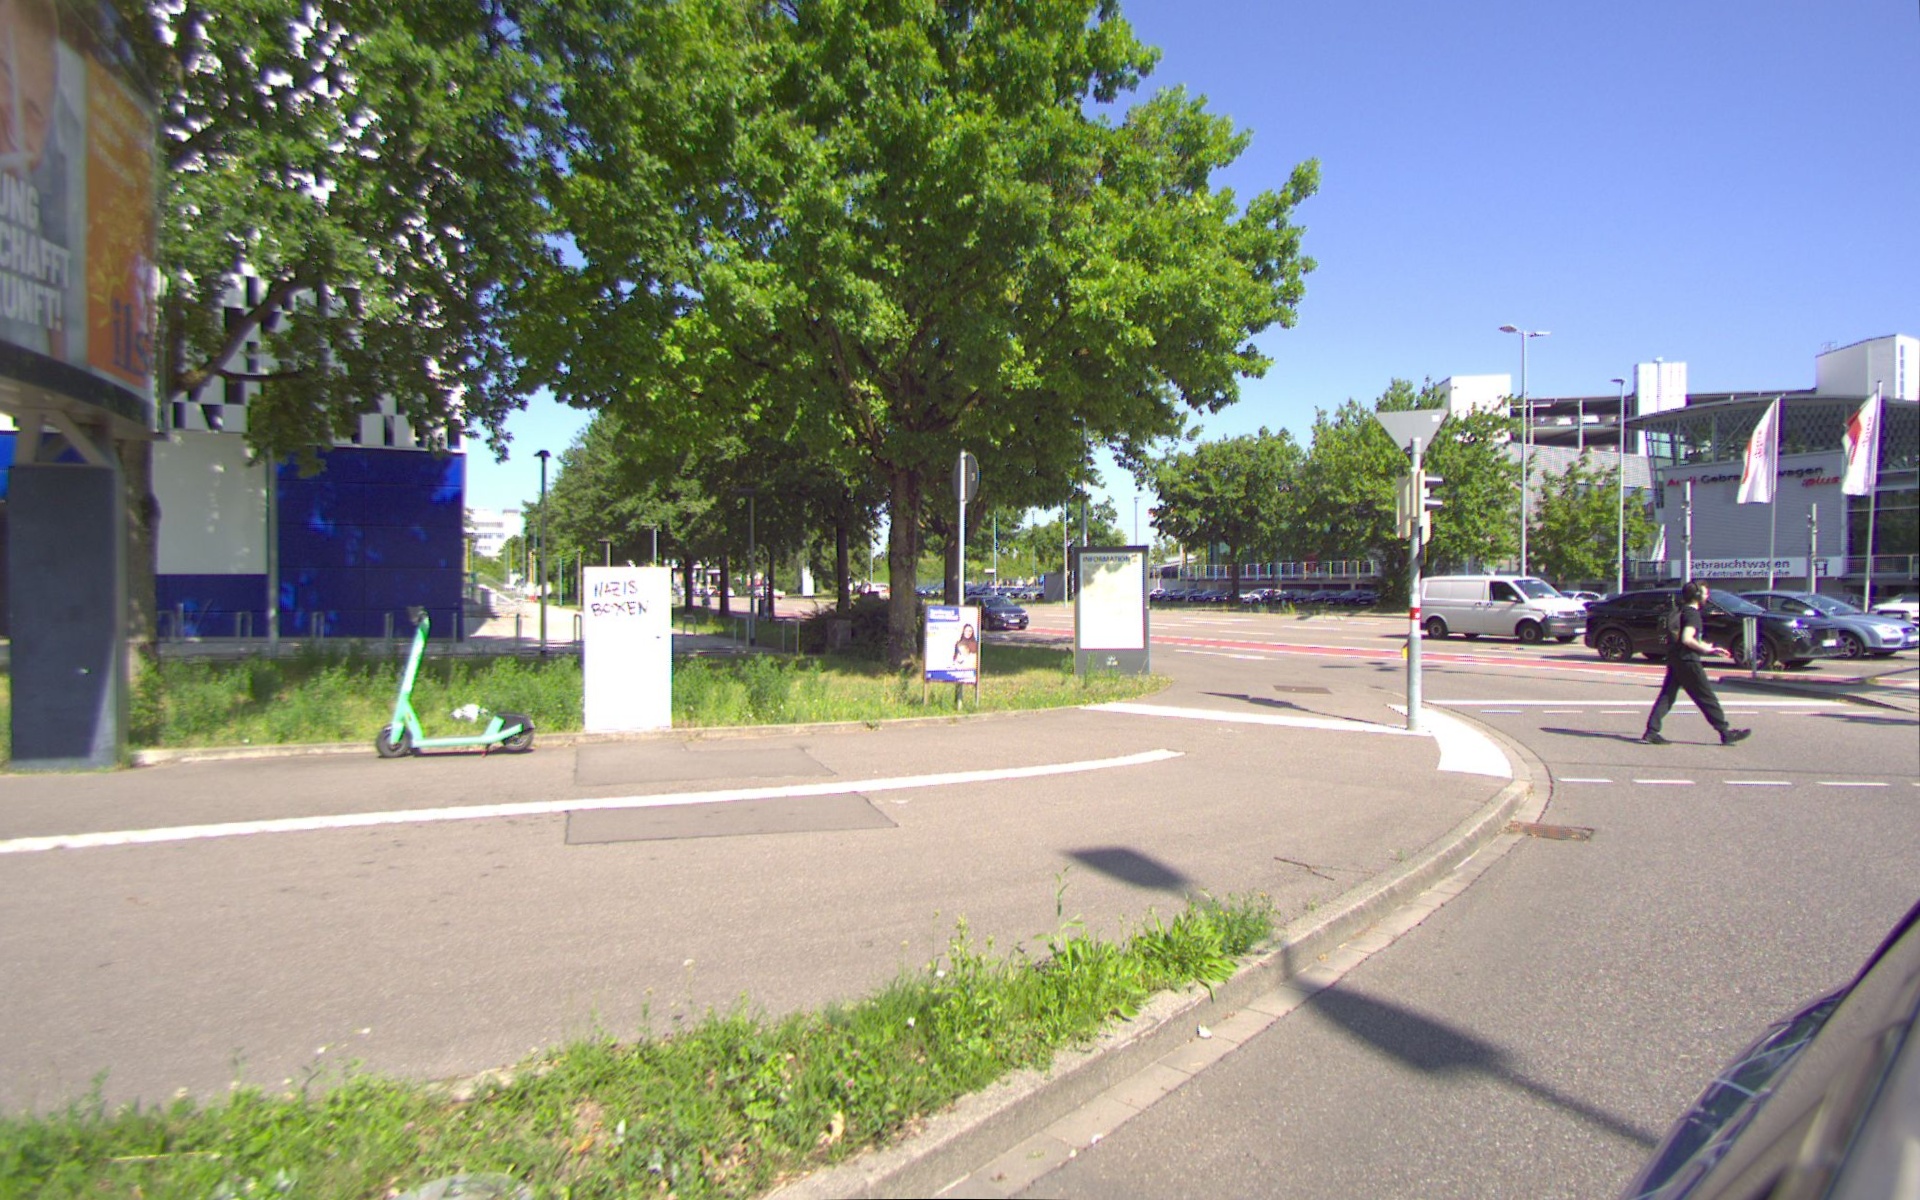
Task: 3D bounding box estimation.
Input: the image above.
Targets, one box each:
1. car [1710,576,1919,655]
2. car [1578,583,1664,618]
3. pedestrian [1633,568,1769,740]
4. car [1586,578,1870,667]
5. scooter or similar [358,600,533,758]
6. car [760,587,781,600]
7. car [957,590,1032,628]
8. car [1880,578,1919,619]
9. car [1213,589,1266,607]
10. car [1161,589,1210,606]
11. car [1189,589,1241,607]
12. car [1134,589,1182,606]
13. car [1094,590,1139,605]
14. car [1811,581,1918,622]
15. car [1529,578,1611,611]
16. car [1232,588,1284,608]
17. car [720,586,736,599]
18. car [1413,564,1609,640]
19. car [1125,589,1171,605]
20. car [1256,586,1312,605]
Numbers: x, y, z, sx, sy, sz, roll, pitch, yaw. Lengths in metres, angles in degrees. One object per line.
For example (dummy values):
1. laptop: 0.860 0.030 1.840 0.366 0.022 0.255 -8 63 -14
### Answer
1. car: 19.644 0.289 23.013 1.723 1.633 3.839 -1 1 -19
2. car: 31.426 0.014 48.125 3.809 1.593 1.789 0 0 -28
3. pedestrian: 8.051 0.565 11.029 0.941 1.802 0.706 0 0 0
4. car: 16.090 0.438 21.507 1.680 1.648 4.510 -1 0 -26
5. scooter or similar: -4.056 0.608 8.025 1.160 1.181 0.403 -1 0 -8
6. car: -26.368 -0.930 140.675 2.124 1.696 4.523 -1 1 -21
7. car: 1.450 0.342 44.470 1.735 1.482 4.248 -1 2 -22
8. car: 36.387 -0.057 37.821 3.809 1.489 1.789 0 0 -28
9. car: 19.867 -0.162 71.995 3.345 1.265 1.599 0 0 -21
10. car: 17.255 -0.197 77.579 3.345 1.265 1.599 0 0 -21
11. car: 18.648 -0.128 74.042 3.345 1.265 1.599 0 0 -20
12. car: 15.587 -0.208 79.602 3.345 1.265 1.599 0 0 -21
13. car: 12.991 -0.230 84.191 3.345 1.265 1.599 0 0 -21
14. car: 35.465 0.043 39.669 3.809 1.566 1.891 0 0 -28
15. car: 30.162 -0.285 50.038 3.809 1.593 1.789 0 0 -28
16. car: 20.665 -0.141 70.206 3.104 1.341 1.645 0 0 -21
17. car: -37.970 -1.209 165.442 1.958 2.039 4.008 -1 1 -22
18. car: 16.107 0.006 29.897 1.705 2.032 5.008 -1 1 -26
19. car: 15.177 -0.216 81.829 3.345 1.265 1.599 0 0 -21
20. car: 21.760 -0.284 68.013 3.345 1.265 1.599 0 0 -21
